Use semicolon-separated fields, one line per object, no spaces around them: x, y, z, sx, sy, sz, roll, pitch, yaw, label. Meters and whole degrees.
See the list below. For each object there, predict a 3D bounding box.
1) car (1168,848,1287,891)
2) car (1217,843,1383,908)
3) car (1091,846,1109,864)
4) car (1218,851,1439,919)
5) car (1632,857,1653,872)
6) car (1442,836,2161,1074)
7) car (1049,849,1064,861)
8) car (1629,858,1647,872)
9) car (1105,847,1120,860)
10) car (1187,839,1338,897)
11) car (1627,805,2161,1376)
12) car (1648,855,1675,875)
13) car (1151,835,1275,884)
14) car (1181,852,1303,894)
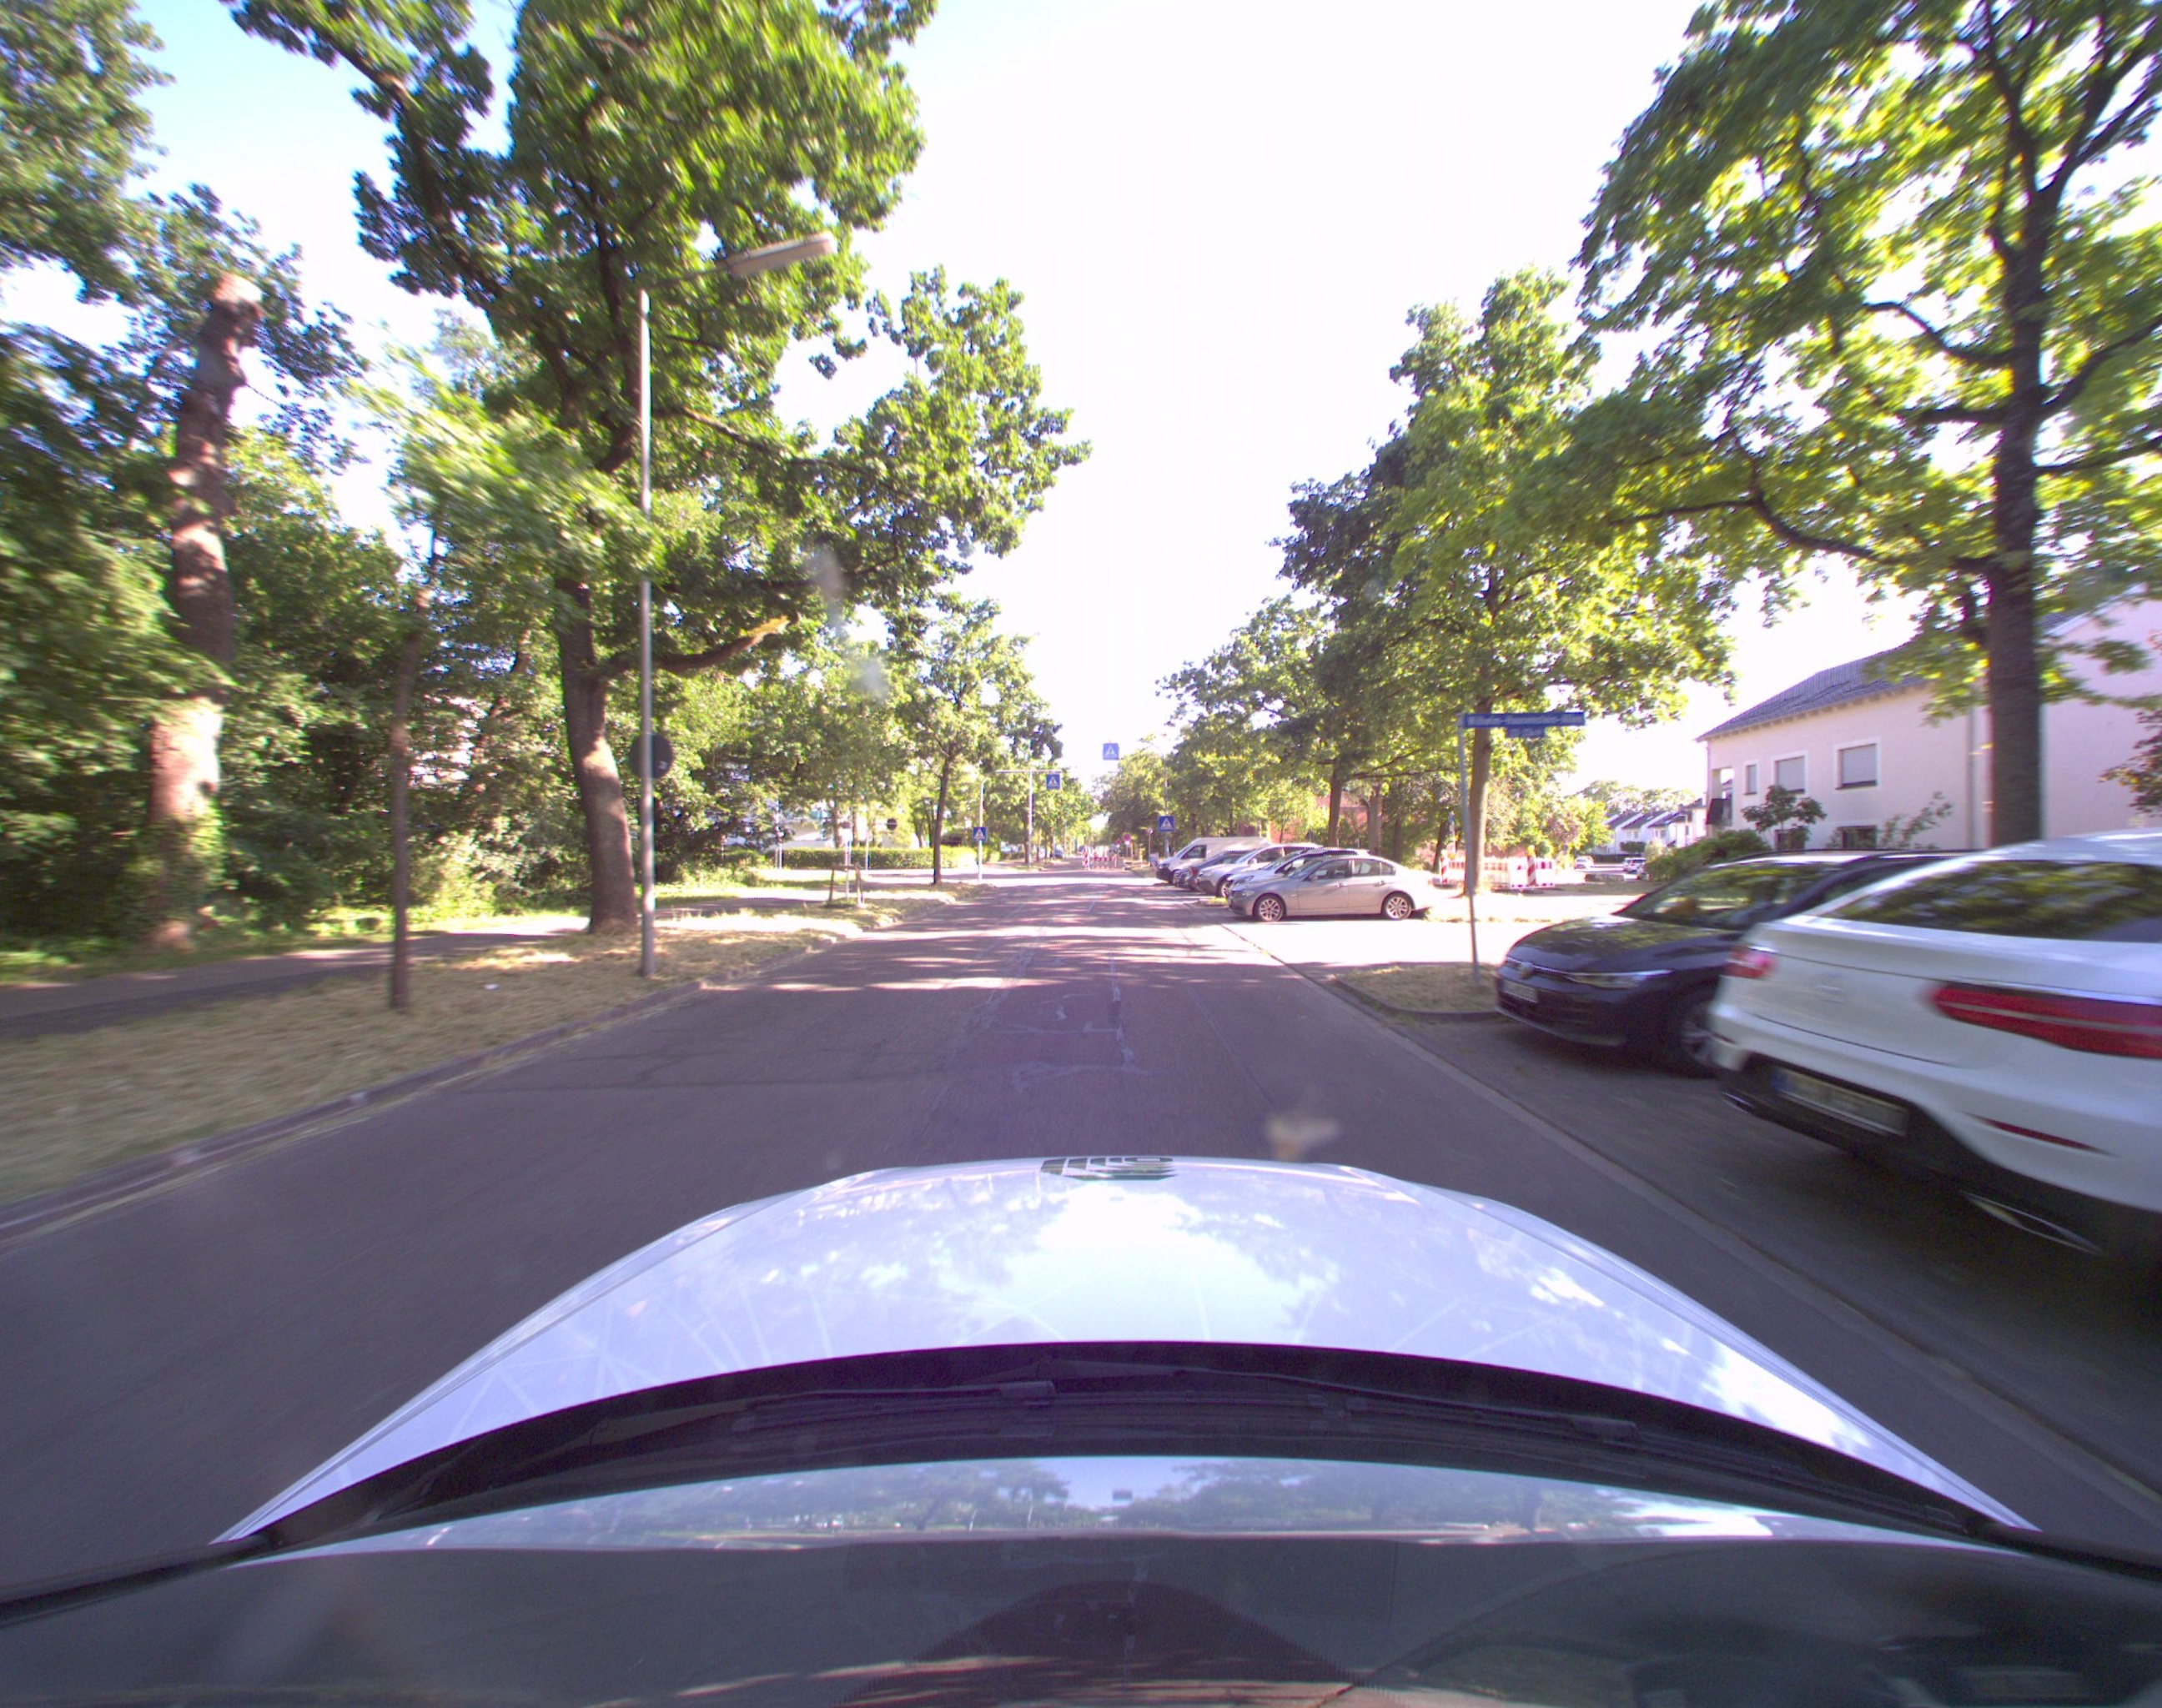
5.538;0.574;31.134;4.200;1.568;1.933;1;0;-1;car
5.635;0.540;21.298;3.872;1.497;1.777;-2;0;0;car
2.171;0.082;92.176;1.987;1.933;4.000;1;0;1;car
5.459;0.670;18.378;4.429;1.390;1.911;-1;0;1;car
57.164;1.061;82.940;1.714;1.555;3.489;1;0;34;car
5.563;0.657;6.344;4.655;1.455;1.917;-2;0;0;car
-3.599;0.206;119.351;1.987;1.716;4.000;1;0;1;car
63.440;1.265;92.789;1.714;1.555;3.489;1;0;34;car
4.350;-0.064;113.109;1.987;1.716;4.000;1;0;1;car
5.715;0.424;25.984;4.371;1.651;1.850;-2;0;-1;car
5.115;0.592;3.175;4.653;1.580;1.917;-2;0;1;car
47.659;0.881;66.921;1.714;1.555;3.489;1;0;34;car
5.801;0.238;36.298;5.171;2.105;2.082;0;0;-1;car
5.576;0.636;28.521;3.971;1.433;1.902;0;0;2;car
